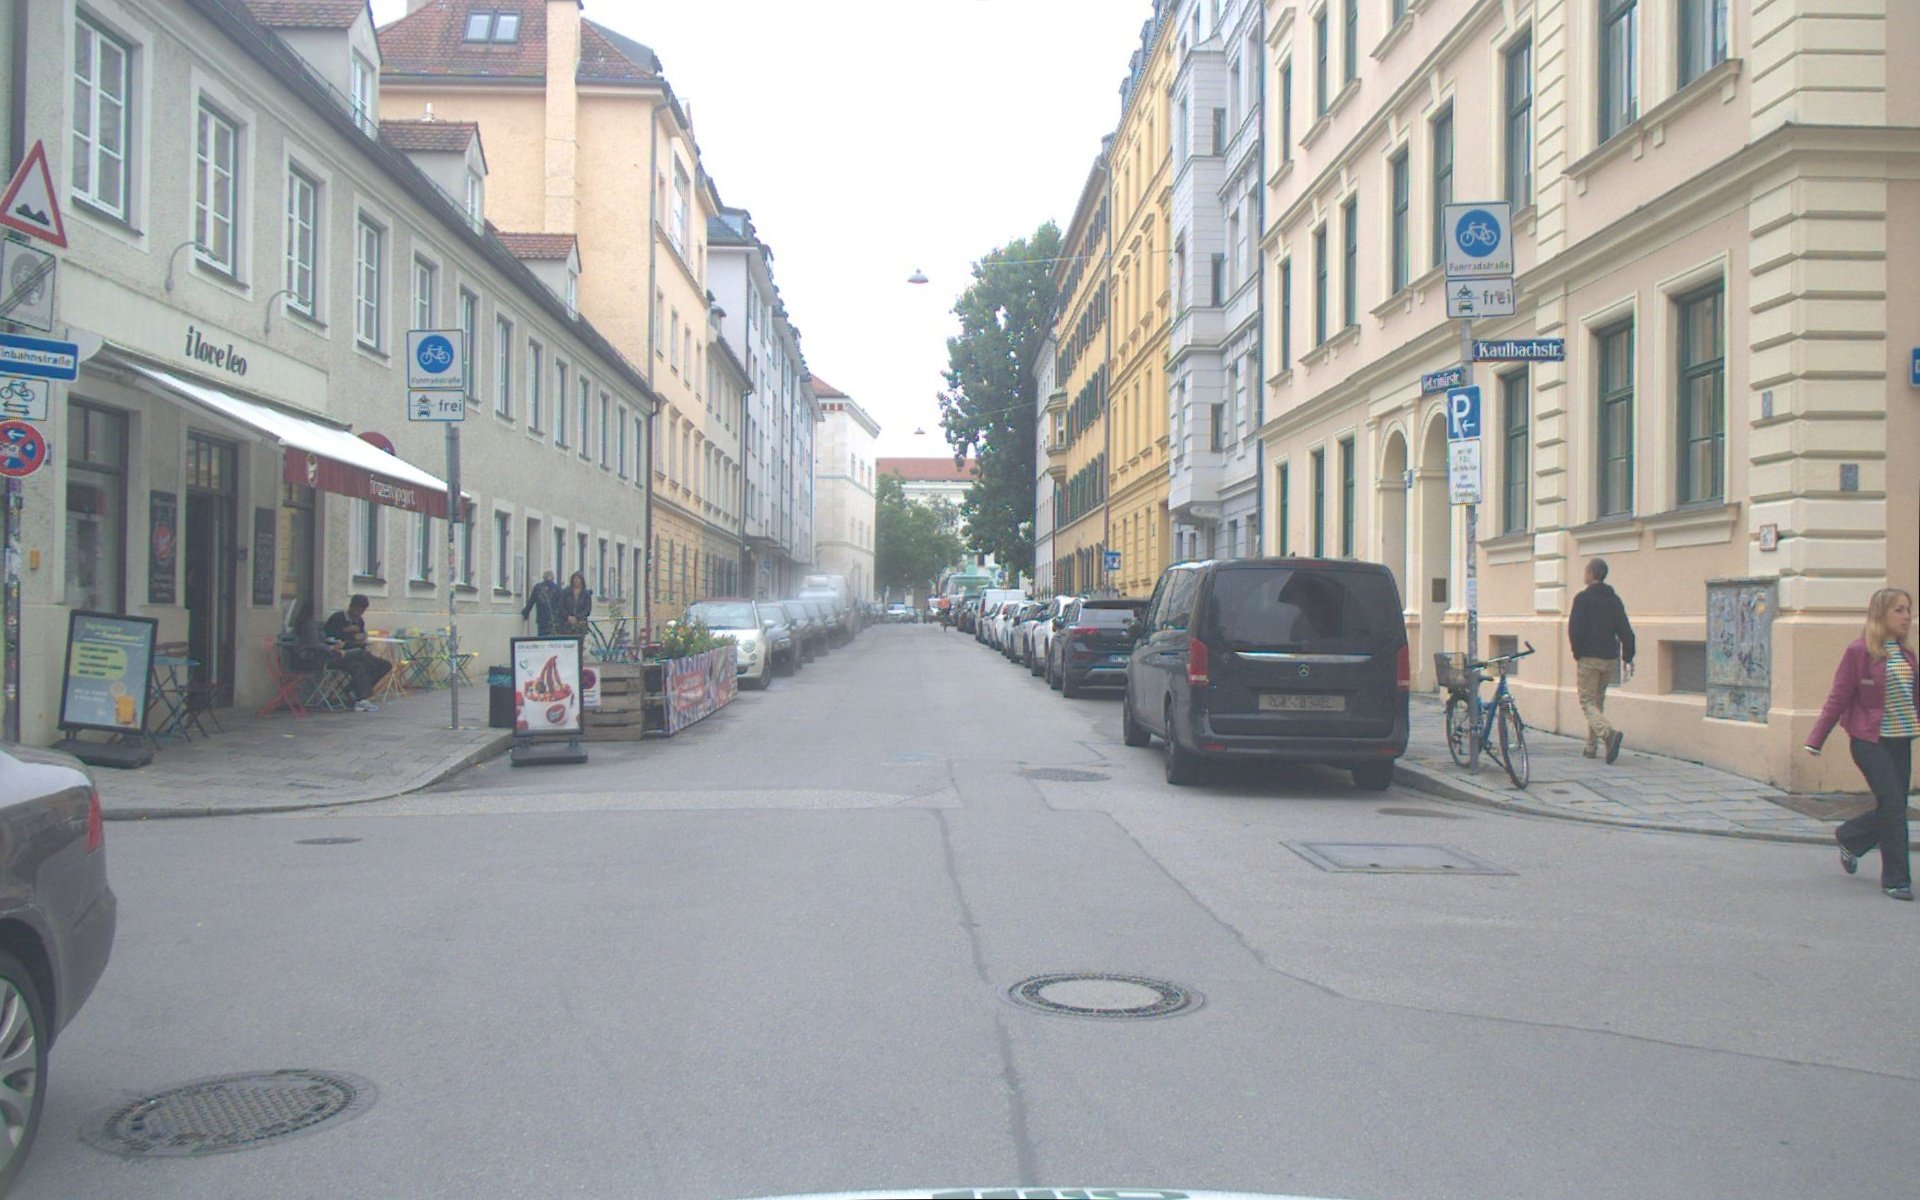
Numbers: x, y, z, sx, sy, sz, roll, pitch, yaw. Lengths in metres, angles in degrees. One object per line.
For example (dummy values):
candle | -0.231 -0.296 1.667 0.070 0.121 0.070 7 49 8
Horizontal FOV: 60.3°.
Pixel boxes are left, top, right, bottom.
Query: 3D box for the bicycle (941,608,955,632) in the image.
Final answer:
bicycle | -0.578 0.941 78.451 0.662 1.114 1.759 0 -1 -1

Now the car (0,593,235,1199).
car | -2.936 0.754 2.666 1.646 1.497 4.946 -1 0 -4

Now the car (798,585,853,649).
car | -4.487 0.542 54.585 1.720 2.030 4.620 0 0 -6

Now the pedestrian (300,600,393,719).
pedestrian | -6.939 0.671 18.734 0.787 1.312 0.693 0 -1 -2

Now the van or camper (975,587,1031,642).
van or camper | 1.538 0.524 60.472 1.796 1.904 5.077 0 0 -1

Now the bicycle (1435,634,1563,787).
bicycle | 4.447 0.878 13.747 0.456 1.070 1.729 -2 2 -1

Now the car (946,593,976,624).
car | 0.040 0.557 107.035 1.814 1.953 4.768 0 0 -1

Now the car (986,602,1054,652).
car | 1.800 0.797 50.673 1.674 1.480 4.093 0 0 -4

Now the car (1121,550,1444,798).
car | 2.745 0.567 15.390 1.957 1.897 5.252 1 0 0

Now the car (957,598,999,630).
car | 0.842 0.679 80.263 1.776 1.449 4.244 1 0 -3

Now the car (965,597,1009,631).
car | 1.217 0.638 74.992 1.775 1.490 4.245 1 0 -2

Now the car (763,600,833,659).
car | -4.361 0.754 44.739 1.781 1.467 4.127 -1 0 -5

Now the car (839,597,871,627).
car | -5.960 0.661 94.122 1.672 1.637 3.861 -1 0 -2

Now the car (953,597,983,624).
car | 0.459 0.657 101.361 1.775 1.642 4.154 0 0 -1

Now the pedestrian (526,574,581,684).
pedestrian | -7.225 0.519 29.450 0.806 1.931 0.827 0 -2 -3

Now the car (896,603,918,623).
car | -4.516 1.108 142.423 1.671 1.609 3.863 -1 0 1

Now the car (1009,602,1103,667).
car | 2.173 0.770 38.501 1.674 1.429 4.204 0 0 -4

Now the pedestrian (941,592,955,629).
pedestrian | -0.575 0.486 78.499 0.629 1.744 0.842 0 -2 -1

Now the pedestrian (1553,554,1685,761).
pedestrian | 5.775 0.495 14.538 0.704 1.747 1.003 0 -1 -3

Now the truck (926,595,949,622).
truck | -2.042 0.806 149.177 2.078 2.287 6.183 0 -1 -1

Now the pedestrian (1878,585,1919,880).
pedestrian | 5.687 0.736 9.132 0.645 1.649 0.979 0 -1 -3

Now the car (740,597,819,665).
car | -4.256 0.715 39.449 1.720 1.522 4.197 0 0 -4

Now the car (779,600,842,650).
car | -4.446 0.722 49.648 1.719 1.433 4.100 0 0 -3

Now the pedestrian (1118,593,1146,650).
pedestrian | 4.997 0.631 48.080 0.647 1.599 0.642 -3 -1 -2

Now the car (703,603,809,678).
car | -4.051 0.769 33.450 1.762 1.363 4.683 0 0 -3

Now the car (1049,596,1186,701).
car | 2.457 0.734 26.780 1.719 1.548 4.273 0 0 -1

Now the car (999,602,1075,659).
car | 1.998 0.783 43.989 1.673 1.433 4.813 0 0 -1

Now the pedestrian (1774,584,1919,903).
pedestrian | 5.028 0.757 9.151 0.462 1.653 1.069 0 -1 -2

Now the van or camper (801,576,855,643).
van or camper | -4.746 0.334 60.002 1.719 2.321 5.270 0 0 -3

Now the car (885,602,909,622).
car | -5.181 0.975 136.267 1.671 1.609 3.863 -1 0 1

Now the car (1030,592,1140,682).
car | 2.356 0.683 32.146 1.708 1.611 4.465 0 0 -1

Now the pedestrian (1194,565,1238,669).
pedestrian | 5.097 0.348 32.951 0.656 2.015 0.708 -3 -1 -1

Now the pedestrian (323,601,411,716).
pedestrian | -6.967 0.683 19.457 0.787 1.313 0.693 0 -1 -2

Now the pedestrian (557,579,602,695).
pedestrian | -6.047 0.589 26.308 0.518 1.813 0.877 0 -2 -1

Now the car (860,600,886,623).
car | -6.372 0.833 121.589 1.671 1.637 3.863 -1 0 1

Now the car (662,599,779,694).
car | -4.045 0.743 28.405 1.720 1.501 3.710 1 0 -5

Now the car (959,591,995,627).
car | 0.868 0.497 87.268 1.775 1.829 4.245 1 0 -1
